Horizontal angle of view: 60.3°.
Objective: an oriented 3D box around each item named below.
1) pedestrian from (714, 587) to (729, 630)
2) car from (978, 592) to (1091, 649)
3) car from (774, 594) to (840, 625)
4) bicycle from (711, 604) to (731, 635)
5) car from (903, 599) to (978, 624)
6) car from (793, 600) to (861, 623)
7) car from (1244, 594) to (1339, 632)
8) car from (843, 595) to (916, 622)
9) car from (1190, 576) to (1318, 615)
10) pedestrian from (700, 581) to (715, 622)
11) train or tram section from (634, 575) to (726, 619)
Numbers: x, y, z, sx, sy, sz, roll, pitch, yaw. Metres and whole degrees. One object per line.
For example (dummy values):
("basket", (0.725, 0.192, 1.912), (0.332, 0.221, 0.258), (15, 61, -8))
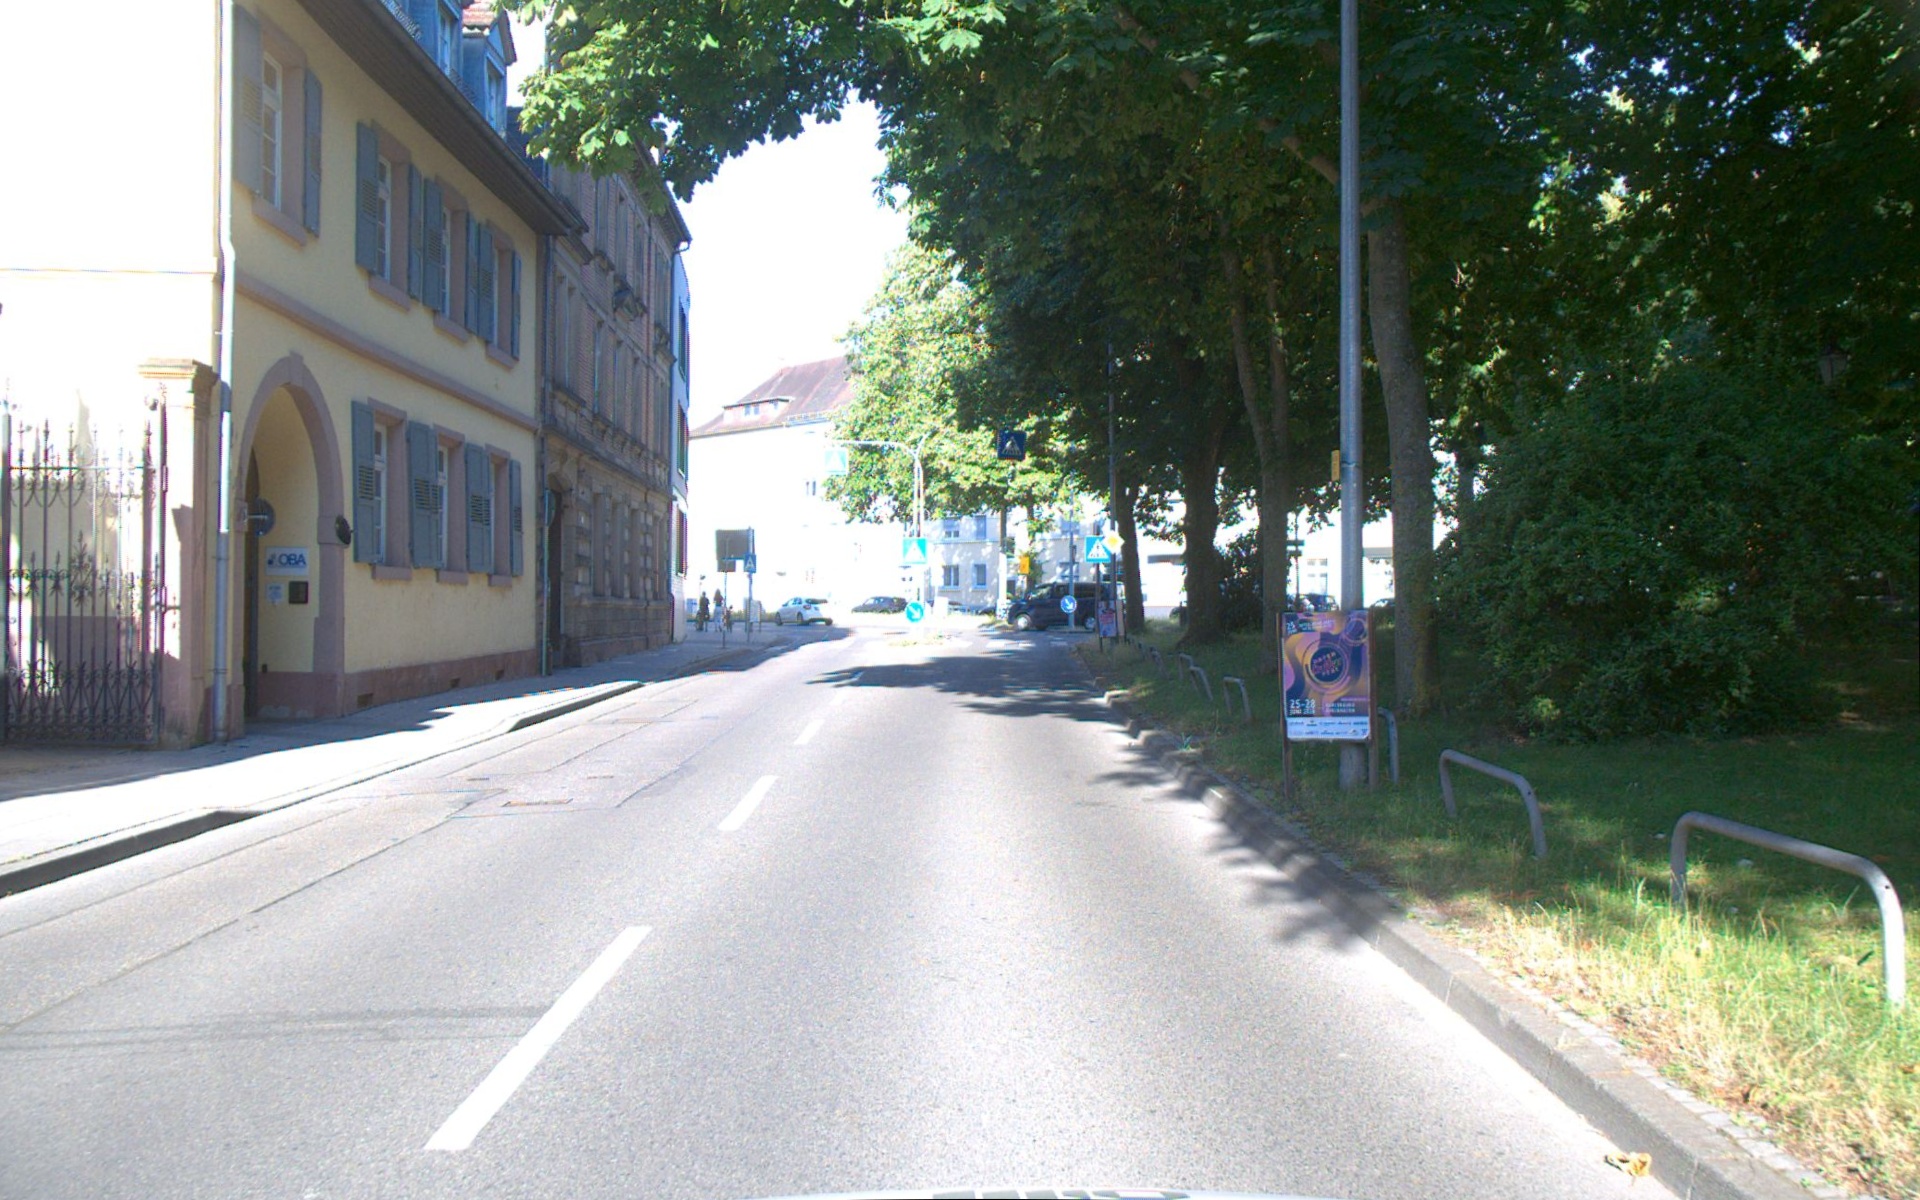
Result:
("pedestrian", (-9.454, 0.332, 65.479), (0.467, 1.676, 0.599), (-1, 0, -19))
("car", (2.848, 0.762, 62.968), (3.903, 2.049, 2.001), (1, -1, 18))
("car", (-7.773, 0.468, 83.683), (1.939, 1.531, 3.646), (-1, 0, -31))
("bicycle", (-9.438, 0.767, 65.372), (0.433, 1.199, 1.956), (1, 0, -18))
("car", (-1.176, 0.678, 98.419), (1.985, 1.410, 4.373), (0, 1, -45))
("car", (-8.571, 0.743, 106.275), (4.368, 1.410, 1.988), (1, 1, 42))
("car", (15.991, 0.609, 79.974), (1.985, 1.779, 4.140), (0, 1, -45))
("car", (-5.011, 0.541, 102.516), (1.985, 1.599, 4.565), (0, -1, -45))
("car", (11.577, -0.203, 65.166), (4.661, 1.489, 1.854), (1, 0, 24))
("pedestrian", (-9.984, 0.049, 65.321), (0.467, 1.592, 0.599), (0, 0, -20))
("train or tram section", (-24.157, -0.210, 143.229), (2.720, 3.618, 9.913), (0, -1, 25))
